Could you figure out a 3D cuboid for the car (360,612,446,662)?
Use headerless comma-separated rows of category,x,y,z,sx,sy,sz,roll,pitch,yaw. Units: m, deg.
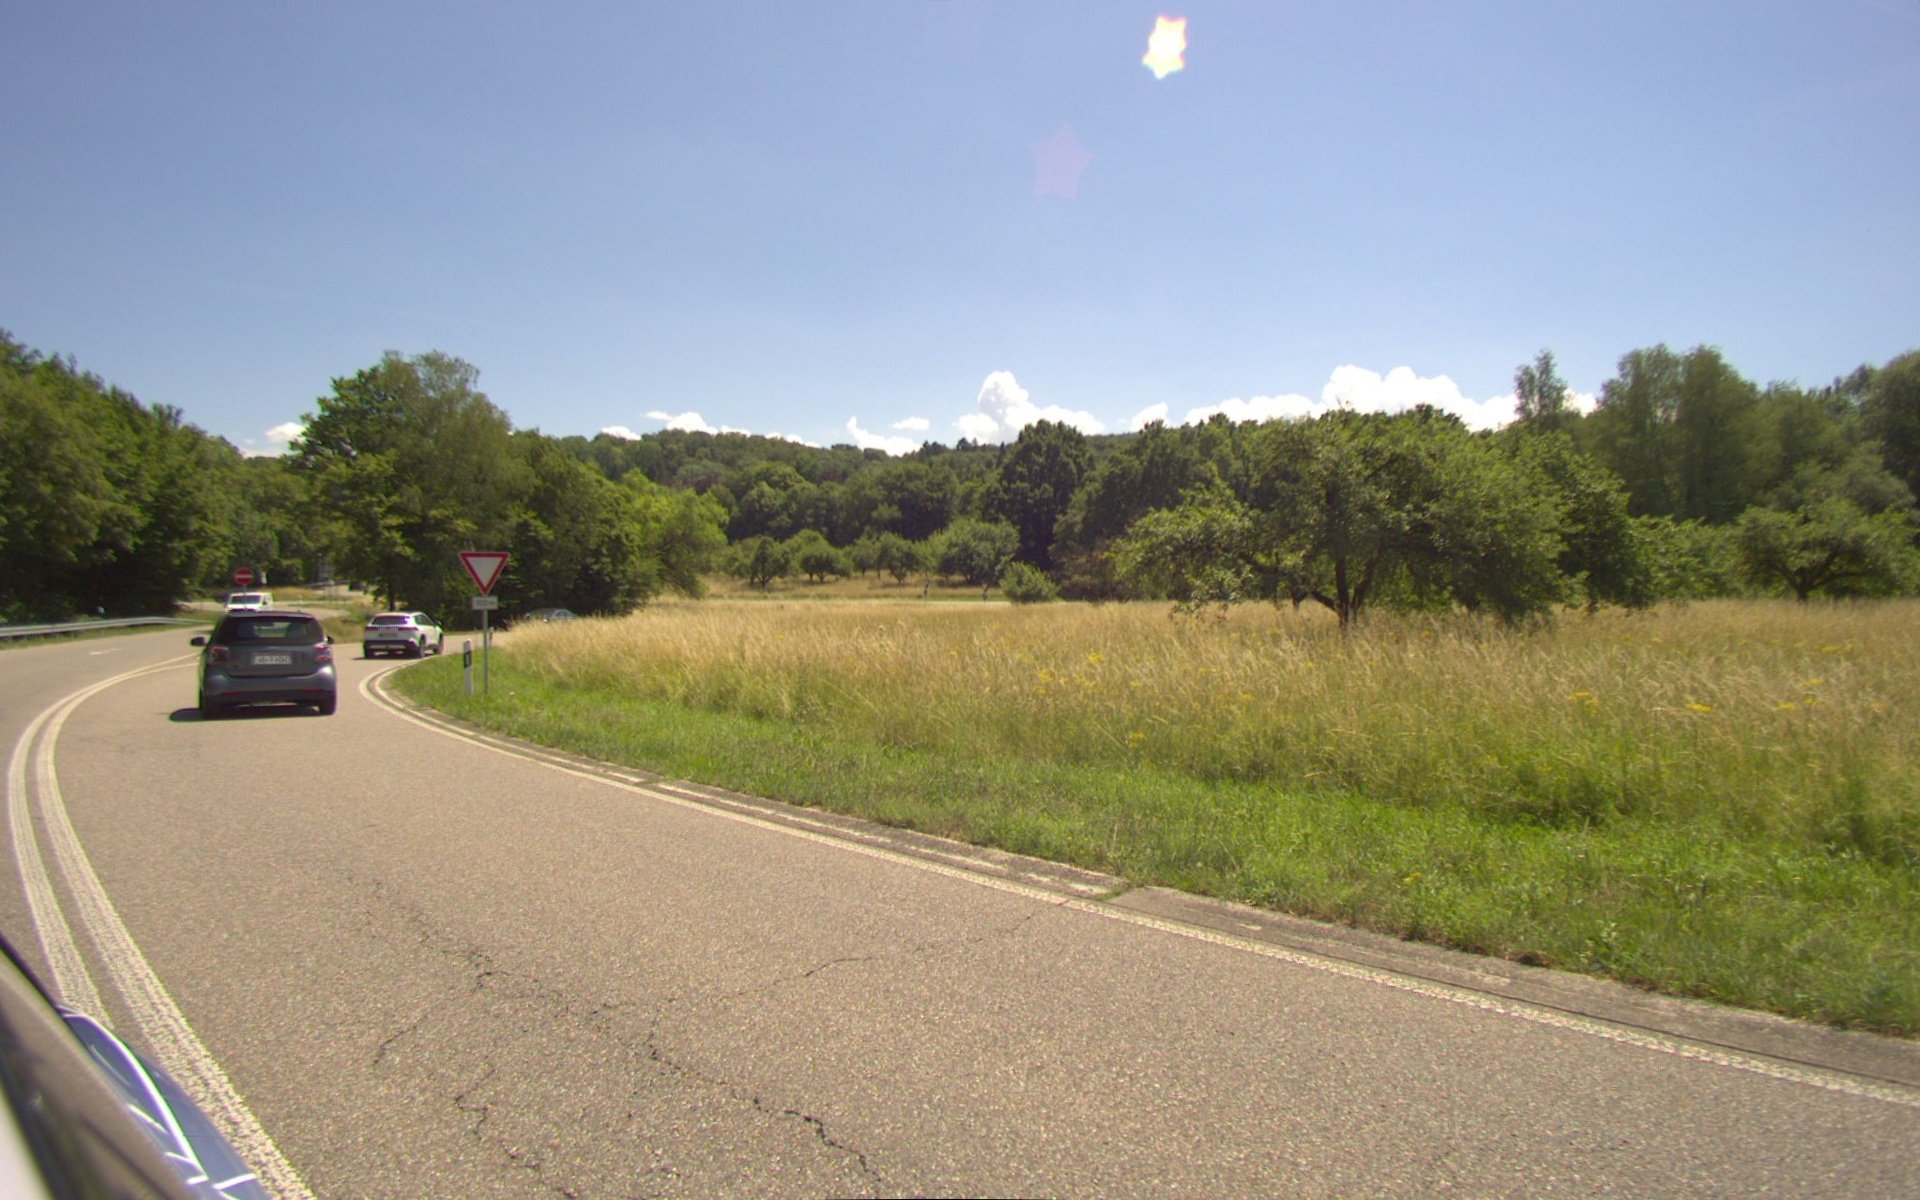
car,-19.618,1.264,35.798,1.797,1.602,4.230,3,-2,-18

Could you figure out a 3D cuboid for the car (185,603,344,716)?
car,-11.092,0.837,16.020,1.713,1.518,4.080,-2,0,-39

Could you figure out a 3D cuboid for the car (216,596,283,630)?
car,-45.937,0.809,65.573,2.187,2.048,5.445,-1,0,-20

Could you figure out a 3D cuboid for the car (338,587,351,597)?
car,-86.831,-1.151,142.771,1.446,1.337,2.970,-1,3,-32

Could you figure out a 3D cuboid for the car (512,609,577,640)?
car,-22.124,1.294,54.111,1.781,1.518,4.662,1,-1,-4
